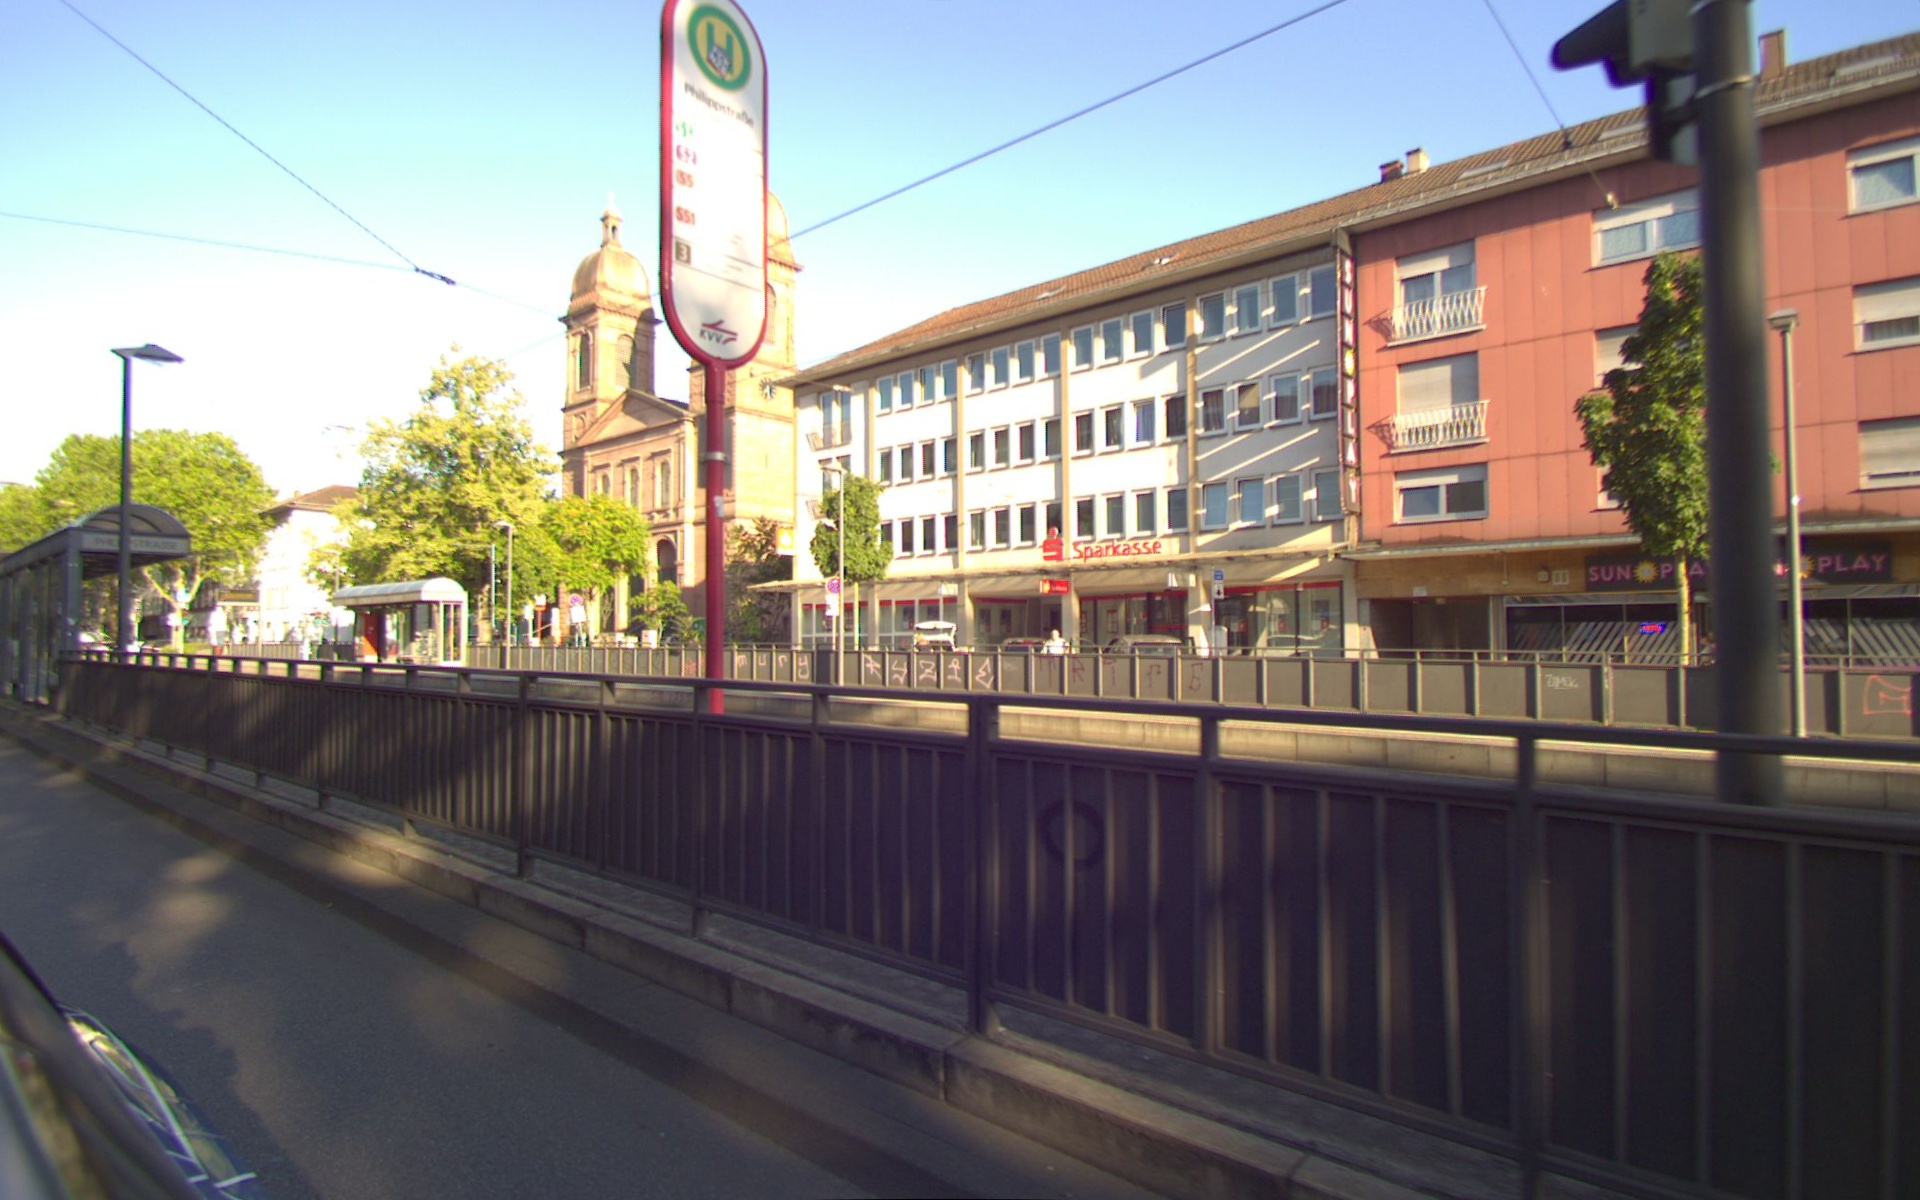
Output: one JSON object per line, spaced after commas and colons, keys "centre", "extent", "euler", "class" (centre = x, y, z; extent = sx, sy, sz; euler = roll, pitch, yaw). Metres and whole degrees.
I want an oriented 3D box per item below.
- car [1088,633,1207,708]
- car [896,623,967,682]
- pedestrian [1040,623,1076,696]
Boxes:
{"centre": [4.509, 1.667, 24.949], "extent": [1.841, 1.541, 4.004], "euler": [-1, 0, -5], "class": "car"}
{"centre": [-0.912, 1.487, 29.946], "extent": [1.716, 1.497, 4.006], "euler": [-1, 0, -7], "class": "car"}
{"centre": [2.454, 1.482, 25.446], "extent": [0.757, 1.801, 0.725], "euler": [-1, 0, -2], "class": "pedestrian"}
